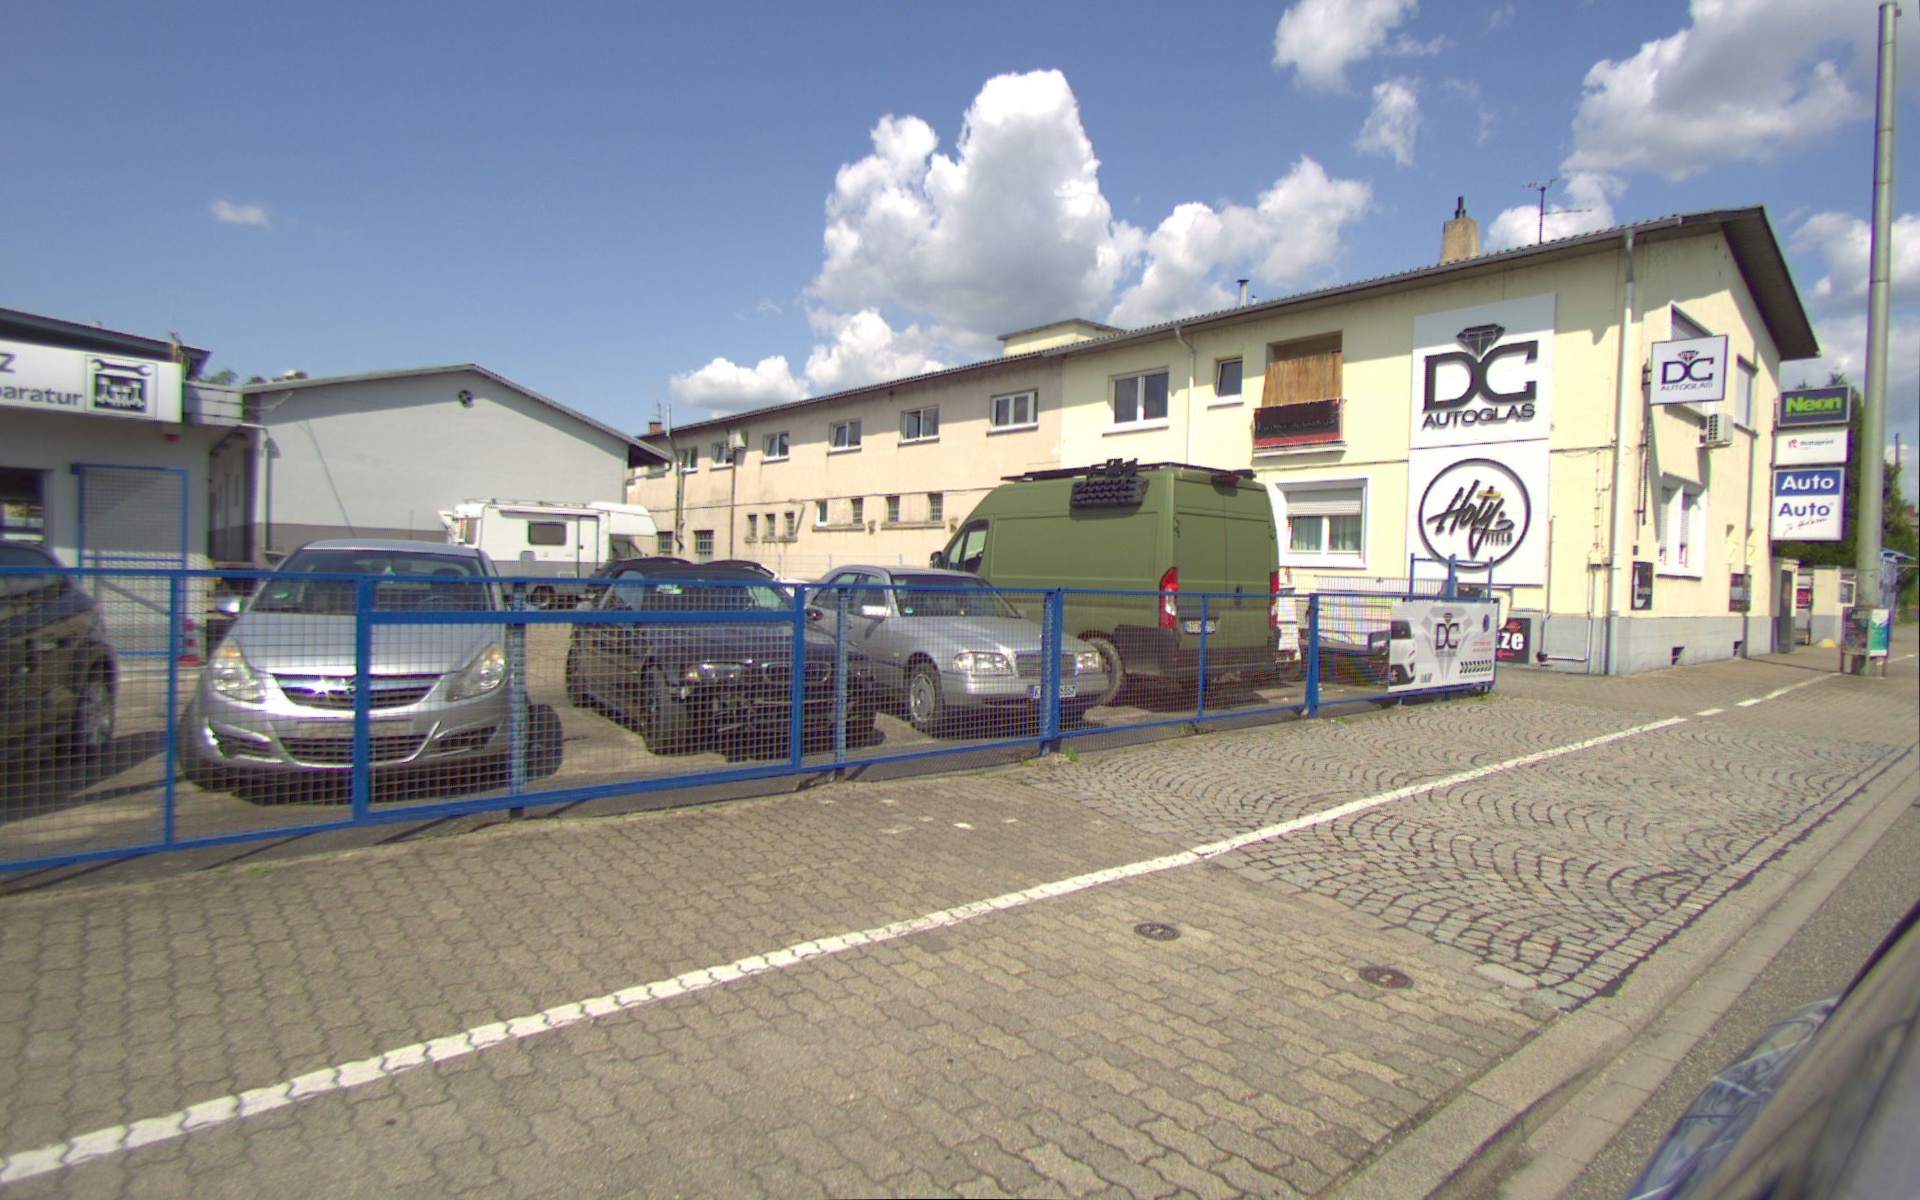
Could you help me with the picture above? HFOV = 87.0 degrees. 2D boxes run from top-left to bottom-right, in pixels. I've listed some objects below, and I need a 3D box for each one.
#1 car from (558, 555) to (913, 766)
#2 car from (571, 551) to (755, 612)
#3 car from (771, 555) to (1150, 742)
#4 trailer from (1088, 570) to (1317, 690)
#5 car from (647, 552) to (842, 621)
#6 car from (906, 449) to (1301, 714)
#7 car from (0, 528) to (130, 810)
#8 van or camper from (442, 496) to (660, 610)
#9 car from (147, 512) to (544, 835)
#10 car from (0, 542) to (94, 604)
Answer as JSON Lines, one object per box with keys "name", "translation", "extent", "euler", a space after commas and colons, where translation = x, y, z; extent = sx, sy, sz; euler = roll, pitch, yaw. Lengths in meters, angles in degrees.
{"name": "car", "translation": [-2.173, 0.322, 8.836], "extent": [1.784, 1.372, 4.004], "euler": [0, 2, -32]}
{"name": "car", "translation": [-7.554, -0.482, 25.943], "extent": [4.110, 1.405, 1.925], "euler": [-1, 3, -42]}
{"name": "car", "translation": [-0.231, 0.300, 10.176], "extent": [1.785, 1.449, 4.200], "euler": [0, 2, -33]}
{"name": "trailer", "translation": [3.215, 0.334, 13.734], "extent": [1.280, 1.349, 2.789], "euler": [0, 3, -40]}
{"name": "car", "translation": [-4.954, -0.346, 23.545], "extent": [4.110, 1.433, 1.756], "euler": [-1, 3, -42]}
{"name": "car", "translation": [1.532, -0.276, 12.386], "extent": [2.112, 2.605, 4.549], "euler": [0, 2, -38]}
{"name": "car", "translation": [-5.654, 0.361, 4.723], "extent": [1.675, 1.460, 4.009], "euler": [1, 2, -23]}
{"name": "van or camper", "translation": [-10.992, -1.244, 27.424], "extent": [4.978, 2.807, 2.311], "euler": [-1, 3, -44]}
{"name": "car", "translation": [-3.878, 0.269, 6.927], "extent": [1.714, 1.515, 4.008], "euler": [1, 2, -25]}
{"name": "car", "translation": [-22.849, -0.657, 23.516], "extent": [4.110, 1.405, 1.925], "euler": [-1, 3, -42]}
